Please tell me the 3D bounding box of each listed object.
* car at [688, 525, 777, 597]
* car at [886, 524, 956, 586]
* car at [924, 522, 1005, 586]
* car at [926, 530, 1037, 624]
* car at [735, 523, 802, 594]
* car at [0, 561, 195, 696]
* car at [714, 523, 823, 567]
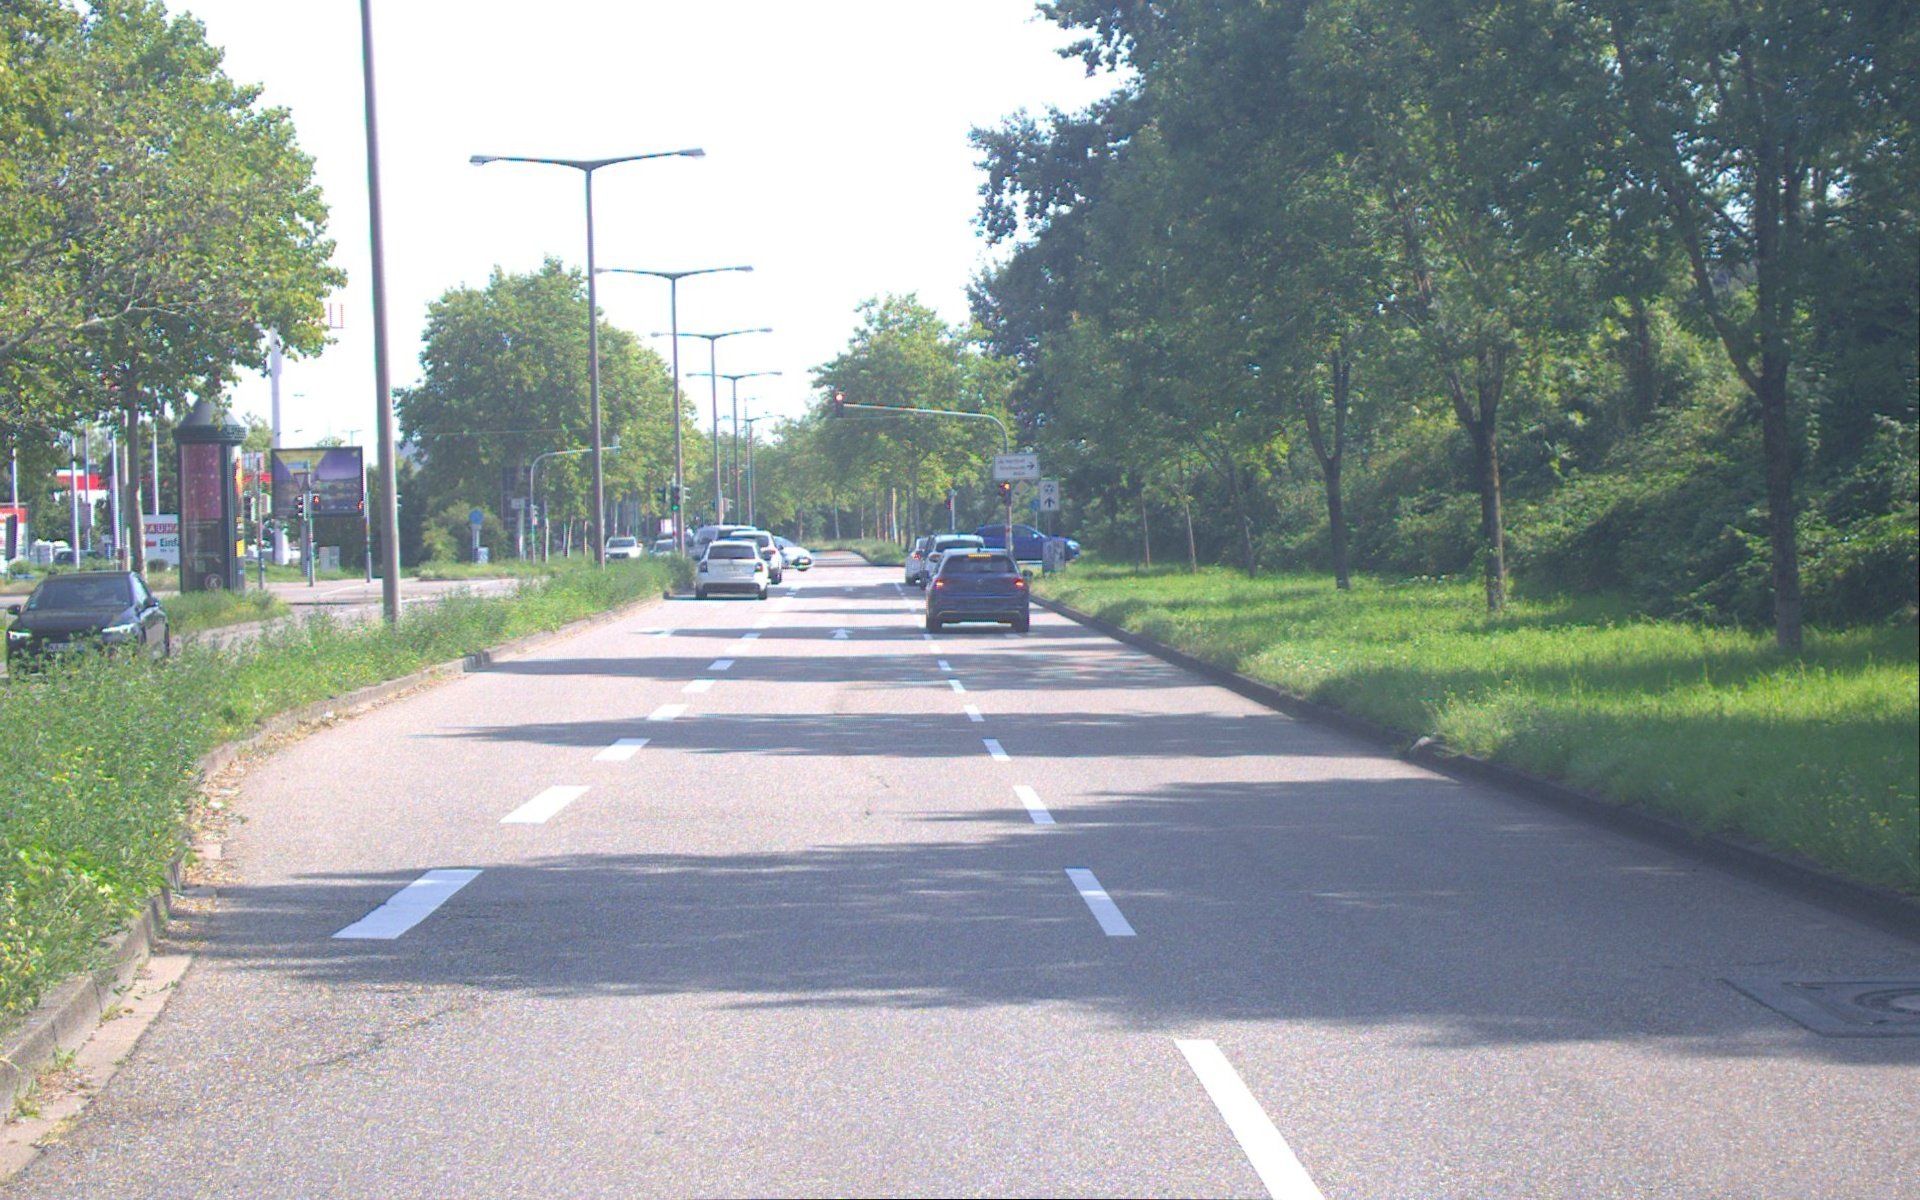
[{"bbox_3d":[-5.641,-0.980,85.638,1.993,1.696,4.000,-2,1,-1],"label":"car"},{"bbox_3d":[-1.224,-1.397,105.732,1.993,1.648,4.001,2,3,-2],"label":"car"},{"bbox_3d":[0.109,-1.238,92.564,1.993,1.648,4.000,-2,1,-2],"label":"car"},{"bbox_3d":[0.346,-0.430,60.154,1.780,1.423,4.001,0,4,-2],"label":"car"},{"bbox_3d":[-5.952,-1.325,107.265,1.993,2.006,4.001,0,4,-2],"label":"car"},{"bbox_3d":[-11.837,0.350,47.027,1.993,1.556,4.001,0,4,-2],"label":"car"},{"bbox_3d":[-7.659,-2.205,137.753,3.989,1.625,1.698,-1,1,15],"label":"car"}]
